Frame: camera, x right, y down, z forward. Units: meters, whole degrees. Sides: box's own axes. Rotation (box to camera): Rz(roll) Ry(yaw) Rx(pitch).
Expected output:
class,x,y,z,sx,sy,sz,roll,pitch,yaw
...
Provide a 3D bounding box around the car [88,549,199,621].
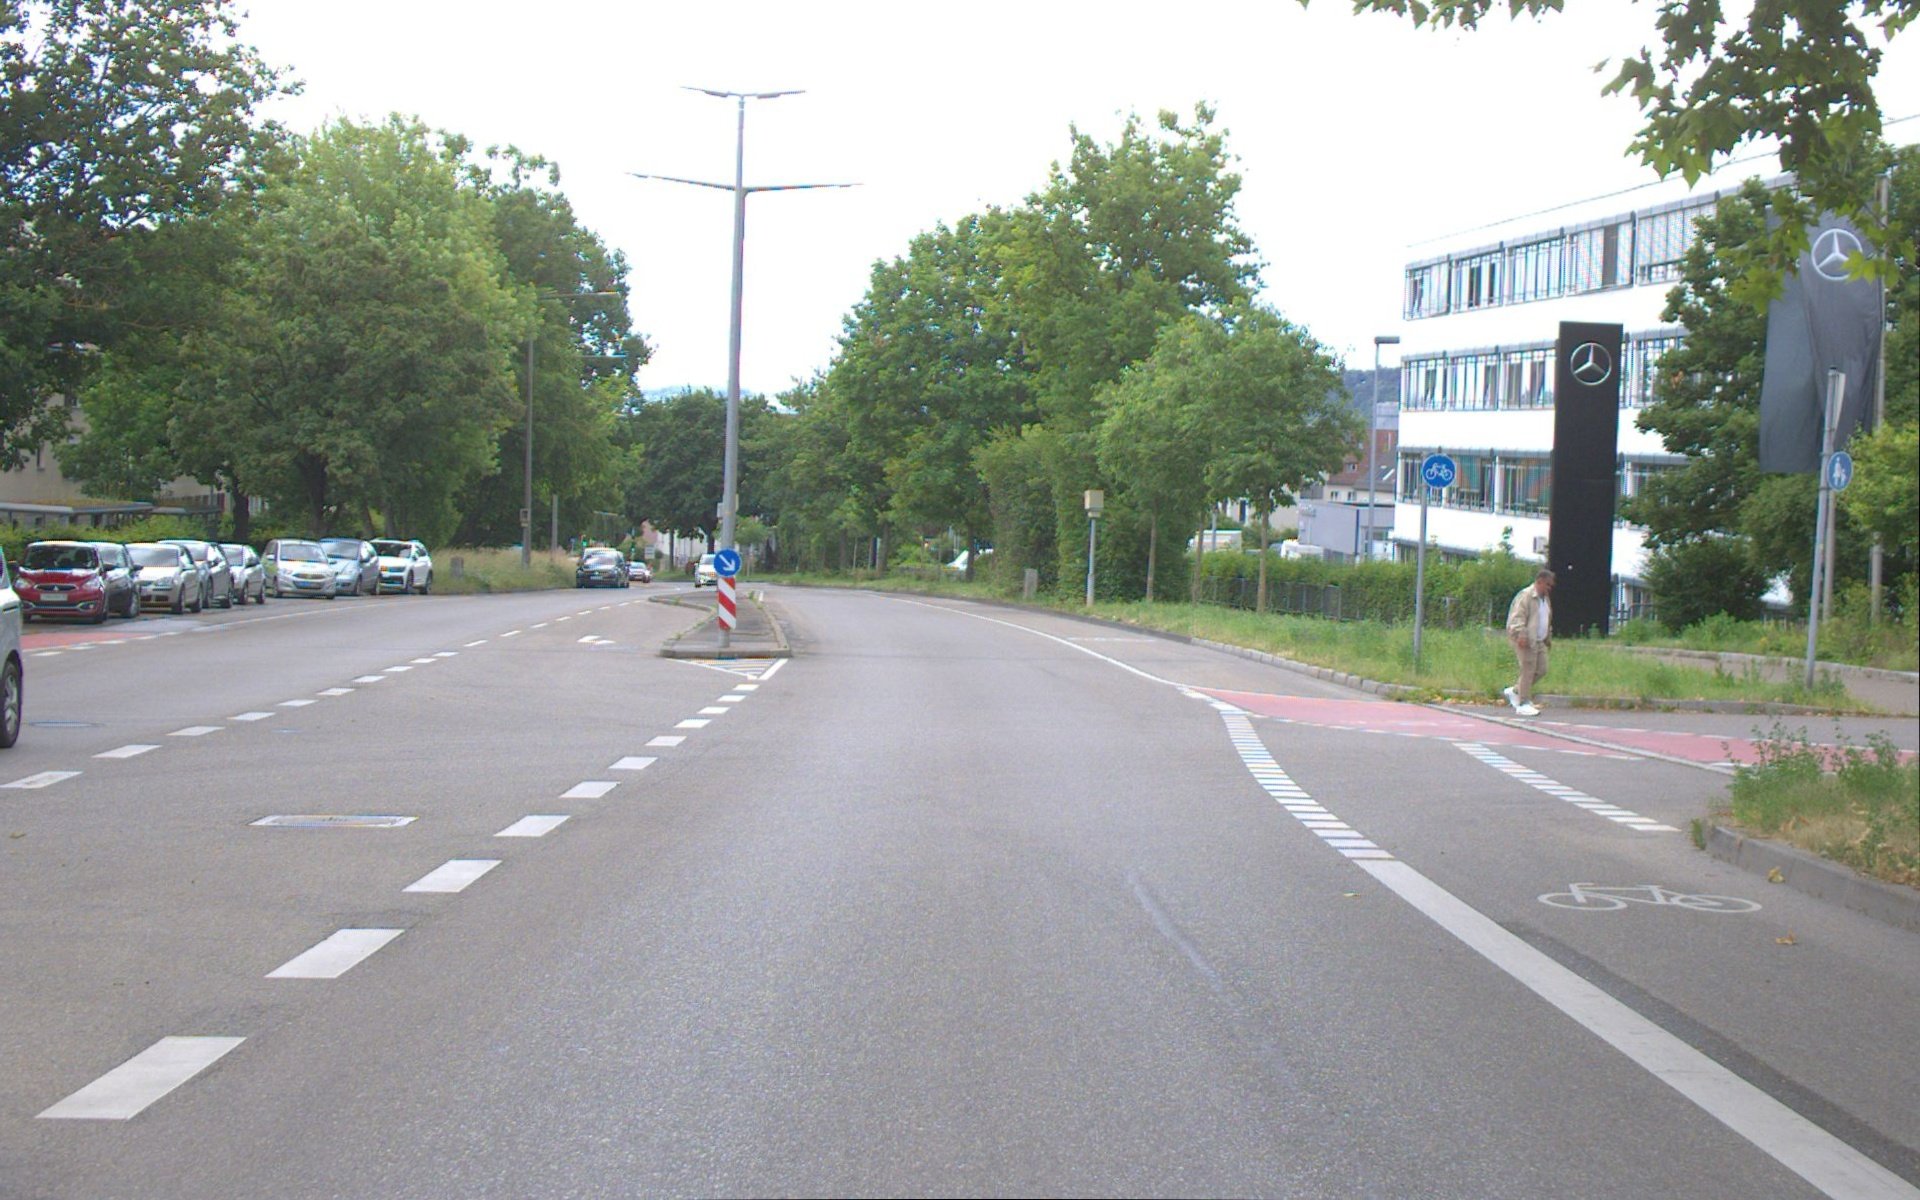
class,x,y,z,sx,sy,sz,roll,pitch,yaw
car,-17.218,-0.340,72.619,1.672,1.398,4.001,2,1,-5

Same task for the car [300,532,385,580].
class,x,y,z,sx,sy,sz,roll,pitch,yaw
car,-17.624,-1.260,98.315,1.672,1.300,4.000,2,1,0

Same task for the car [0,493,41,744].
class,x,y,z,sx,sy,sz,roll,pitch,yaw
car,-7.738,0.158,23.544,1.846,1.797,4.651,0,1,-3

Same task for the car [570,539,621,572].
class,x,y,z,sx,sy,sz,roll,pitch,yaw
car,-15.017,-1.840,141.759,1.771,1.300,4.000,2,1,-2

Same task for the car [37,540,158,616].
class,x,y,z,sx,sy,sz,roll,pitch,yaw
car,-17.084,-0.462,68.228,1.672,1.398,4.001,2,1,-5

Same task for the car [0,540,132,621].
class,x,y,z,sx,sy,sz,roll,pitch,yaw
car,-16.458,-0.380,63.446,1.672,1.398,4.001,2,1,-5

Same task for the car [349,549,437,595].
class,x,y,z,sx,sy,sz,roll,pitch,yaw
car,-17.049,-0.856,103.554,1.673,1.300,3.999,2,1,4

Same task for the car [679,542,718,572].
class,x,y,z,sx,sy,sz,roll,pitch,yaw
car,-12.085,-1.998,159.066,1.611,1.300,4.000,2,1,-2

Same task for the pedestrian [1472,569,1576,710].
class,x,y,z,sx,sy,sz,roll,pitch,yaw
pedestrian,6.003,0.418,36.615,0.788,1.458,0.749,1,1,-20

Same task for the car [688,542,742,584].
class,x,y,z,sx,sy,sz,roll,pitch,yaw
car,-8.124,-1.245,114.056,1.611,1.300,4.000,2,1,-2

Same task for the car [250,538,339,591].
class,x,y,z,sx,sy,sz,roll,pitch,yaw
car,-18.040,-0.976,93.078,1.672,1.300,4.001,2,1,-21
